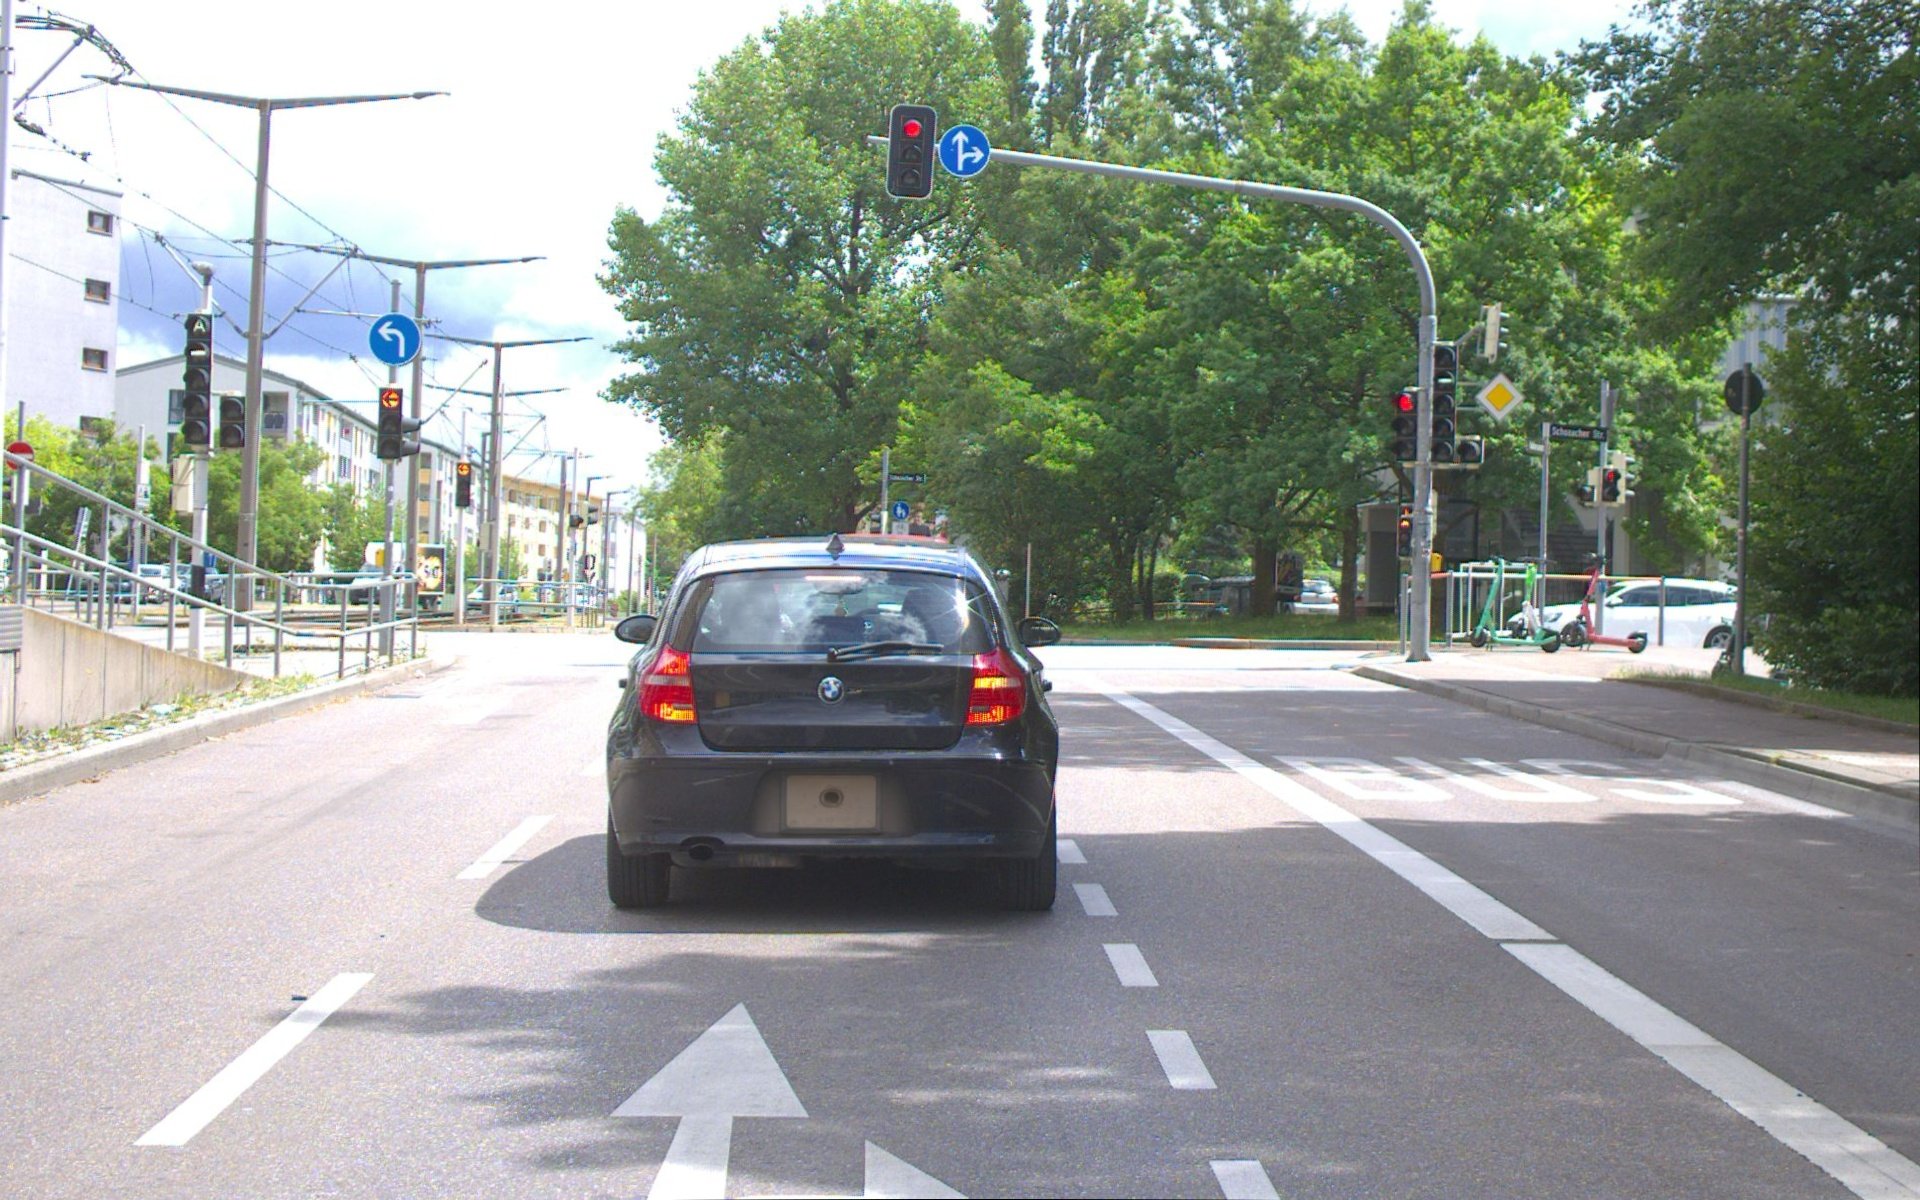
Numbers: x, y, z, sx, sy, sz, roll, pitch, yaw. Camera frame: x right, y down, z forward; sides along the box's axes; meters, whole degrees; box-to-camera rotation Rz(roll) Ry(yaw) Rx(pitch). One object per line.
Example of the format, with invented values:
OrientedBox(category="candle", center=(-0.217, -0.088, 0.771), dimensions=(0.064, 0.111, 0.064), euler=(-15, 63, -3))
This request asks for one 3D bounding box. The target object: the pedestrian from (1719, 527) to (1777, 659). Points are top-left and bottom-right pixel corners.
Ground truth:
OrientedBox(category="pedestrian", center=(10.998, -0.093, 47.975), dimensions=(0.614, 1.784, 0.568), euler=(5, 1, 18))

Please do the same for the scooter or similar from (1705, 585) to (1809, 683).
OrientedBox(category="scooter or similar", center=(9.008, 0.385, 38.849), dimensions=(1.148, 1.095, 0.332), euler=(0, 1, -24))

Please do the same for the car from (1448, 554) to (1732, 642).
OrientedBox(category="car", center=(11.198, -0.039, 61.220), dimensions=(4.571, 1.521, 1.946), euler=(0, 1, -11))

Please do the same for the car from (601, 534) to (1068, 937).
OrientedBox(category="car", center=(-0.423, 0.451, 14.040), dimensions=(1.654, 1.414, 3.517), euler=(1, 1, 1))

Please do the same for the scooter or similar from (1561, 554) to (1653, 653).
OrientedBox(category="scooter or similar", center=(8.285, 0.045, 44.050), dimensions=(1.106, 1.253, 0.332), euler=(0, 1, -12))

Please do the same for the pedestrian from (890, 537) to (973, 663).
OrientedBox(category="pedestrian", center=(-0.323, -0.008, 39.678), dimensions=(0.865, 1.437, 0.798), euler=(1, 1, 6))

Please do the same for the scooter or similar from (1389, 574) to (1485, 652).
OrientedBox(category="scooter or similar", center=(5.832, 0.158, 42.041), dimensions=(1.119, 0.954, 0.300), euler=(0, 1, -16))

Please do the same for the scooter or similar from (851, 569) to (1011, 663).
OrientedBox(category="scooter or similar", center=(-0.331, 0.179, 39.117), dimensions=(1.780, 1.047, 0.410), euler=(0, 1, -4))

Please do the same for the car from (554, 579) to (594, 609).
OrientedBox(category="car", center=(-21.543, -0.339, 191.773), dimensions=(1.966, 1.590, 4.001), euler=(1, 1, -3))

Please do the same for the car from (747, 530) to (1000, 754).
OrientedBox(category="car", center=(-0.560, 0.233, 23.725), dimensions=(1.594, 1.414, 3.517), euler=(1, 1, 0))

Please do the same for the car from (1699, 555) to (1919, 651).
OrientedBox(category="car", center=(14.616, 0.044, 58.515), dimensions=(3.576, 1.595, 1.712), euler=(0, 1, -13))

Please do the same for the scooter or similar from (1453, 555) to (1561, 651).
OrientedBox(category="scooter or similar", center=(6.868, 0.037, 43.203), dimensions=(1.287, 1.185, 0.385), euler=(0, 1, -16))

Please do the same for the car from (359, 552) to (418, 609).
OrientedBox(category="car", center=(-27.319, -0.963, 164.486), dimensions=(2.139, 2.631, 5.359), euler=(1, 1, -2))

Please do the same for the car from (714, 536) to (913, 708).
OrientedBox(category="car", center=(-1.305, 0.155, 30.595), dimensions=(1.654, 1.414, 3.517), euler=(1, 1, -2))
